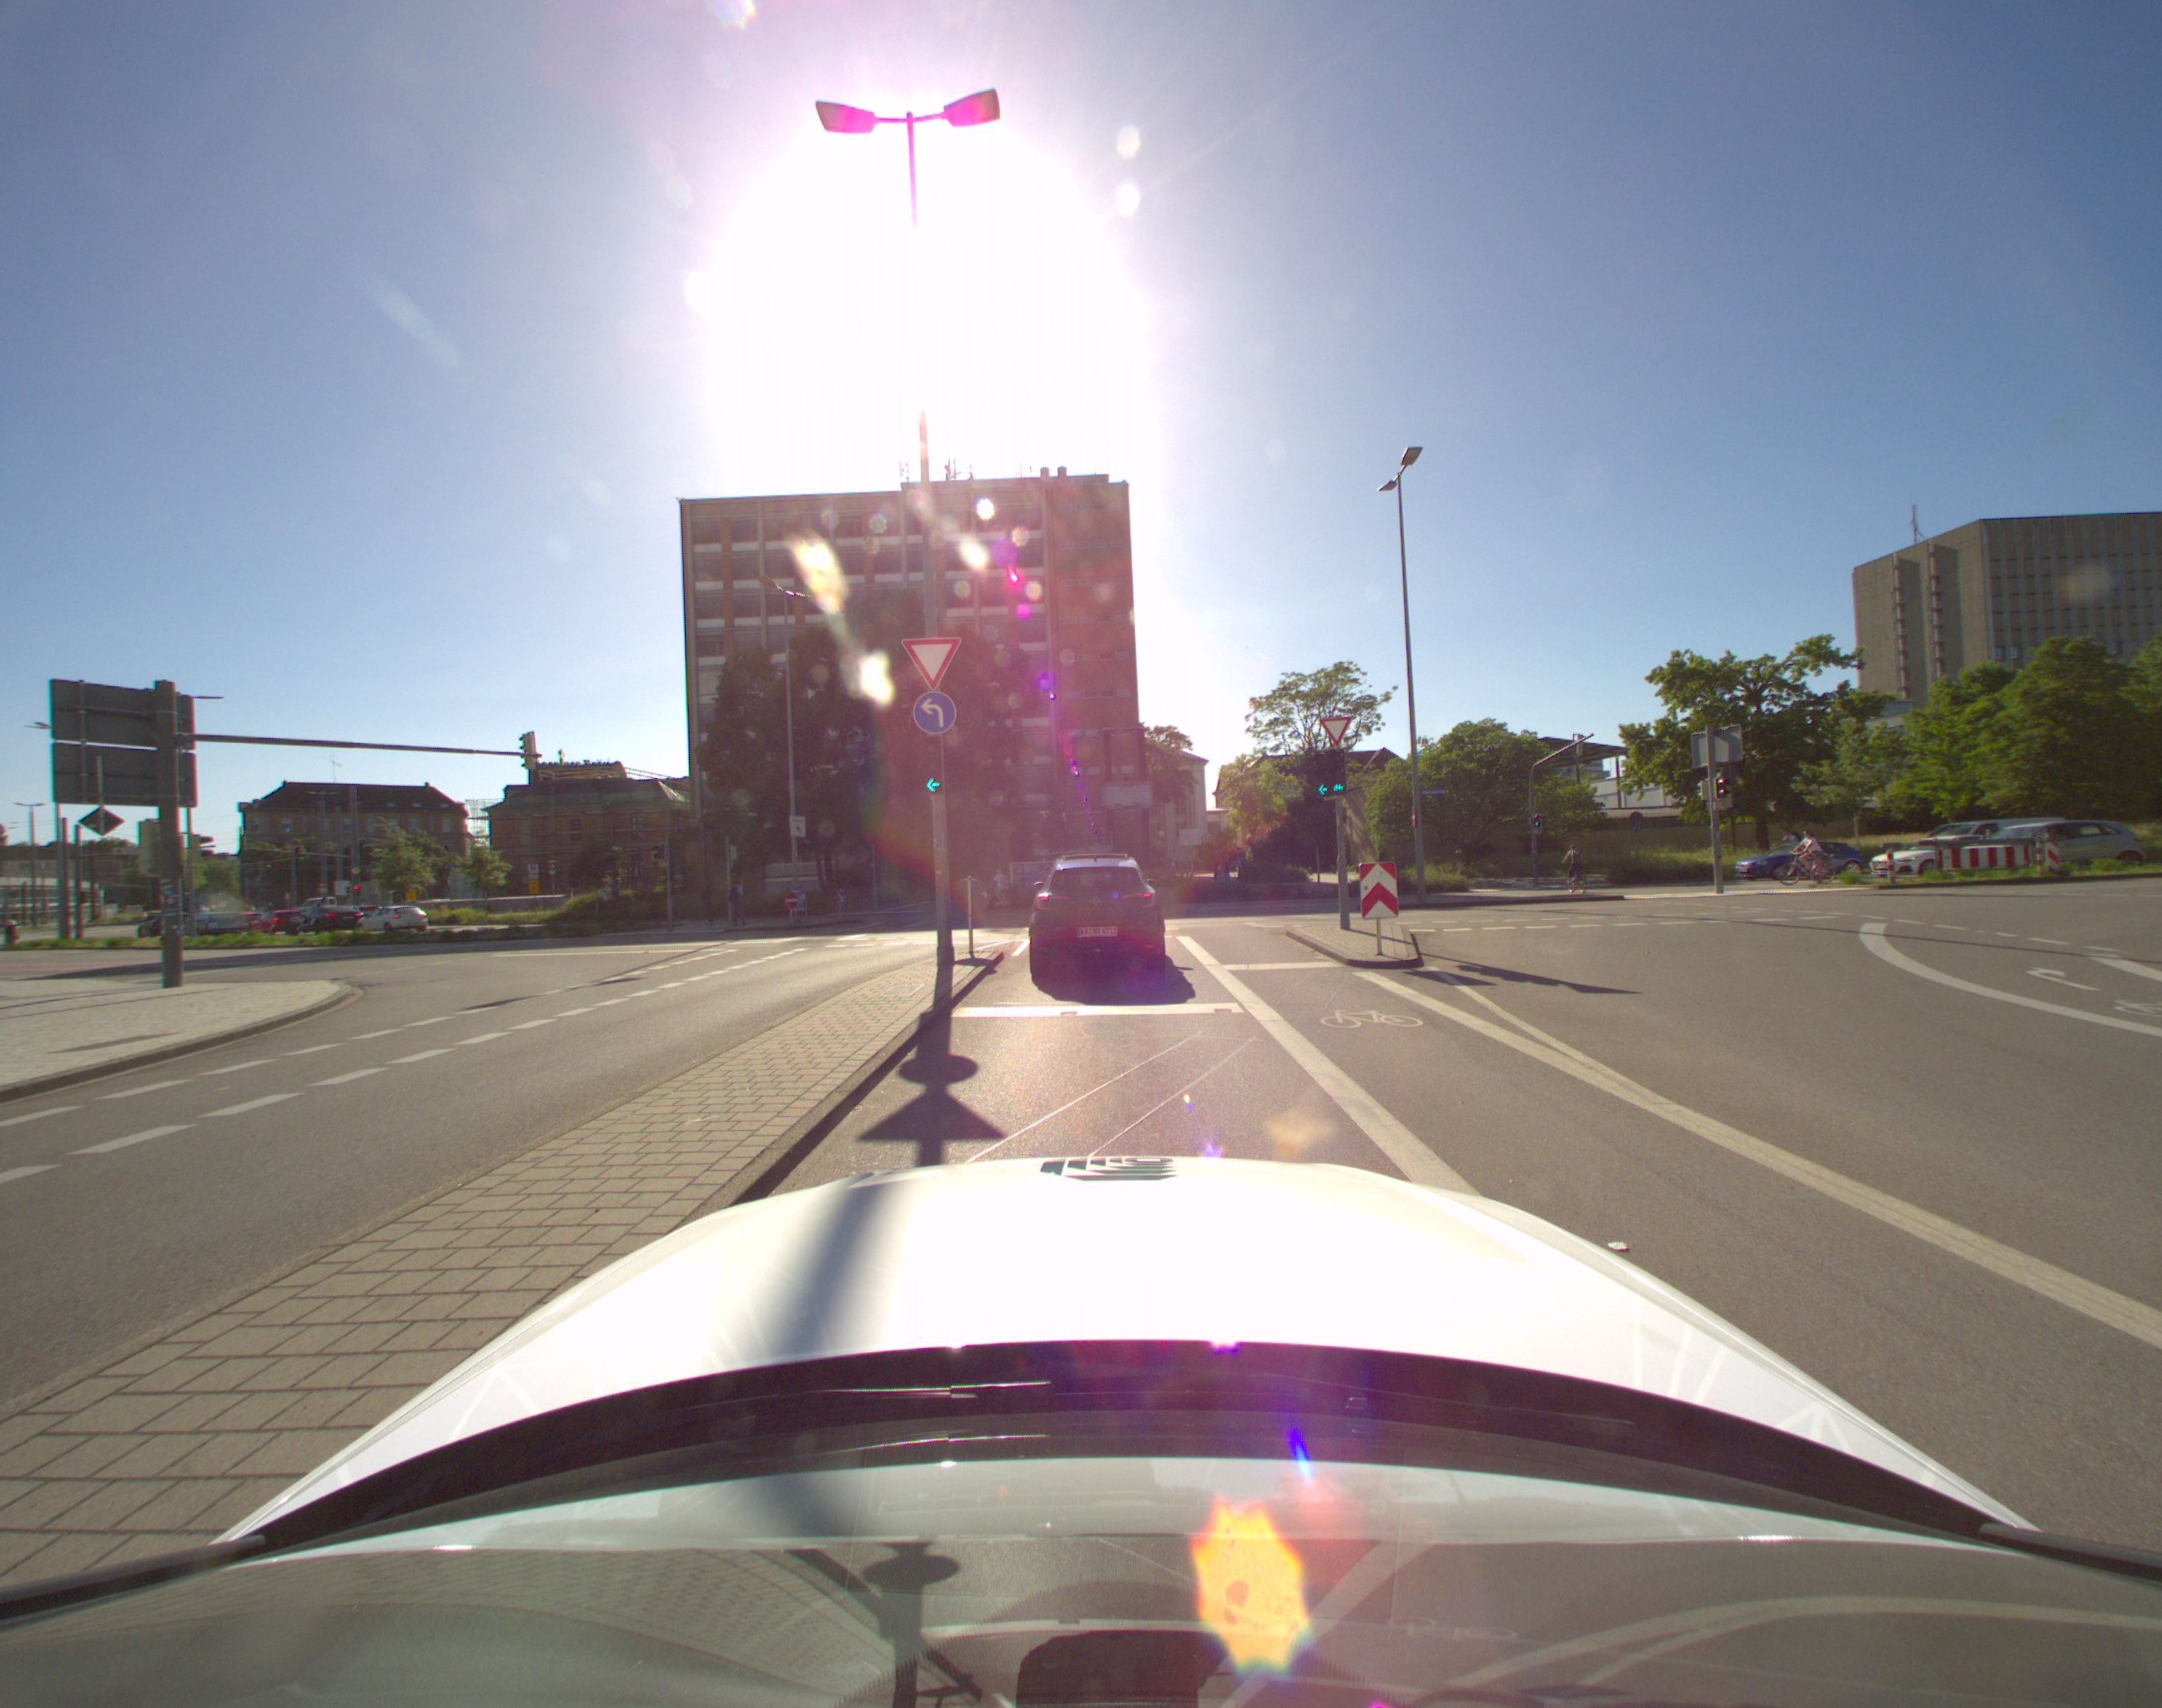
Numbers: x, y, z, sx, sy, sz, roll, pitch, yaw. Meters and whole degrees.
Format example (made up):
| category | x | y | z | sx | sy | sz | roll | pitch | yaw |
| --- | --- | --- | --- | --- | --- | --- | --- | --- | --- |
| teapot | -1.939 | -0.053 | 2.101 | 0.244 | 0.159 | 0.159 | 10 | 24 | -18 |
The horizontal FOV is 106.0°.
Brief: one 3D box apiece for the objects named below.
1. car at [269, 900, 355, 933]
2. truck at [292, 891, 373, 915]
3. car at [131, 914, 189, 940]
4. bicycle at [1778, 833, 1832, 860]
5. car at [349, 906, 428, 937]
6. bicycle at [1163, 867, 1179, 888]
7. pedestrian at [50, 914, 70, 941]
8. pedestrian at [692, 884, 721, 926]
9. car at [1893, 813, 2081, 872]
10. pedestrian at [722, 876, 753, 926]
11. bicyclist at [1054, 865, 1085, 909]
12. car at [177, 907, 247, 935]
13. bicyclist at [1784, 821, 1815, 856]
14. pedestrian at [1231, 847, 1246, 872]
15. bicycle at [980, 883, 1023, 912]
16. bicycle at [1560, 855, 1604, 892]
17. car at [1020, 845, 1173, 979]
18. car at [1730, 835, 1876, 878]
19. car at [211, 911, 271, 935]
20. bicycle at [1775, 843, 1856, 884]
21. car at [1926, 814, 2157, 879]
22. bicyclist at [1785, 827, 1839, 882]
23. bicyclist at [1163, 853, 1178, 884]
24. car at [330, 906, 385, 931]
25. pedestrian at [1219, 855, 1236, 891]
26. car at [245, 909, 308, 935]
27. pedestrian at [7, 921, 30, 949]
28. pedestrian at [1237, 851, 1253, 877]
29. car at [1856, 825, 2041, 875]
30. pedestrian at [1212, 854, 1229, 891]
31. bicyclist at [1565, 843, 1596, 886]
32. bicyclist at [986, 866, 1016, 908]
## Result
| category | x | y | z | sx | sy | sz | roll | pitch | yaw |
| --- | --- | --- | --- | --- | --- | --- | --- | --- | --- |
| car | -43.259 | 3.505 | 45.813 | 4.324 | 1.624 | 2.002 | -3 | -1 | 24 |
| truck | -87.647 | 5.681 | 95.536 | 2.199 | 2.313 | 6.906 | -3 | -1 | 12 |
| car | -55.266 | 4.380 | 48.858 | 3.859 | 1.443 | 1.741 | -4 | -4 | 33 |
| bicycle | 34.364 | -0.348 | 38.684 | 1.944 | 1.165 | 0.643 | -4 | 1 | 1 |
| car | -36.705 | 3.551 | 43.165 | 3.691 | 1.436 | 1.706 | -3 | -1 | 24 |
| bicycle | 5.151 | 1.331 | 46.649 | 0.741 | 1.165 | 1.875 | -3 | -1 | 10 |
| pedestrian | -64.840 | 4.658 | 51.702 | 0.668 | 1.611 | 0.659 | -1 | -1 | 27 |
| pedestrian | -14.677 | 1.988 | 31.898 | 0.712 | 1.612 | 0.684 | -3 | -2 | 10 |
| car | 34.615 | -0.411 | 31.239 | 4.719 | 1.953 | 1.942 | -2 | -2 | 5 |
| pedestrian | -13.233 | 1.802 | 31.411 | 0.753 | 1.833 | 1.093 | -2 | -2 | -7 |
| bicyclist | -0.440 | 1.246 | 31.226 | 0.725 | 1.617 | 0.967 | -2 | -1 | -34 |
| car | -49.207 | 3.788 | 46.121 | 3.750 | 1.442 | 1.741 | -3 | -2 | 27 |
| bicyclist | 34.118 | -0.740 | 38.672 | 0.827 | 1.595 | 0.632 | -4 | 2 | 1 |
| pedestrian | 10.591 | 0.353 | 54.717 | 0.739 | 1.643 | 0.670 | 0 | -1 | -37 |
| bicycle | -3.424 | 1.880 | 34.947 | 1.846 | 1.165 | 0.753 | -3 | -1 | 42 |
| bicycle | 17.449 | 0.672 | 28.388 | 0.637 | 1.165 | 1.876 | -3 | 1 | 11 |
| car | 0.263 | 0.738 | 12.068 | 1.869 | 1.617 | 3.799 | -2 | 0 | 2 |
| car | 27.961 | 0.129 | 31.628 | 3.968 | 1.442 | 1.707 | -2 | -2 | 5 |
| car | -53.888 | 4.444 | 52.215 | 3.750 | 1.443 | 1.741 | -3 | -3 | 29 |
| bicycle | 23.944 | 0.308 | 26.564 | 1.856 | 1.165 | 0.749 | -4 | -1 | 3 |
| car | 27.851 | -0.179 | 23.744 | 4.281 | 1.625 | 1.792 | -2 | -2 | 5 |
| bicyclist | 23.830 | 0.021 | 26.572 | 0.970 | 1.685 | 0.747 | -4 | -1 | 3 |
| bicyclist | 5.138 | 0.843 | 46.671 | 0.715 | 1.735 | 0.980 | -3 | -1 | 10 |
| car | -50.703 | 4.513 | 57.044 | 3.578 | 1.618 | 1.894 | -4 | -3 | 31 |
| pedestrian | 7.390 | 0.946 | 41.176 | 0.727 | 1.782 | 0.735 | -1 | -1 | 19 |
| car | -48.407 | 4.105 | 48.989 | 3.674 | 1.443 | 1.687 | -3 | -3 | 29 |
| pedestrian | -63.295 | 4.831 | 48.512 | 0.565 | 1.611 | 0.573 | 0 | -1 | 1 |
| pedestrian | 10.442 | 0.621 | 51.965 | 0.740 | 1.643 | 0.669 | 0 | -1 | -43 |
| car | 30.062 | -0.102 | 28.353 | 3.963 | 1.469 | 2.005 | -3 | -1 | 9 |
| pedestrian | 6.905 | 0.930 | 40.285 | 0.727 | 1.816 | 0.735 | -1 | -1 | 19 |
| bicyclist | 17.436 | 0.366 | 28.425 | 0.637 | 1.444 | 0.779 | -3 | 1 | 11 |
| bicyclist | -3.438 | 1.405 | 34.944 | 0.965 | 1.763 | 0.726 | -3 | -1 | 42 |
